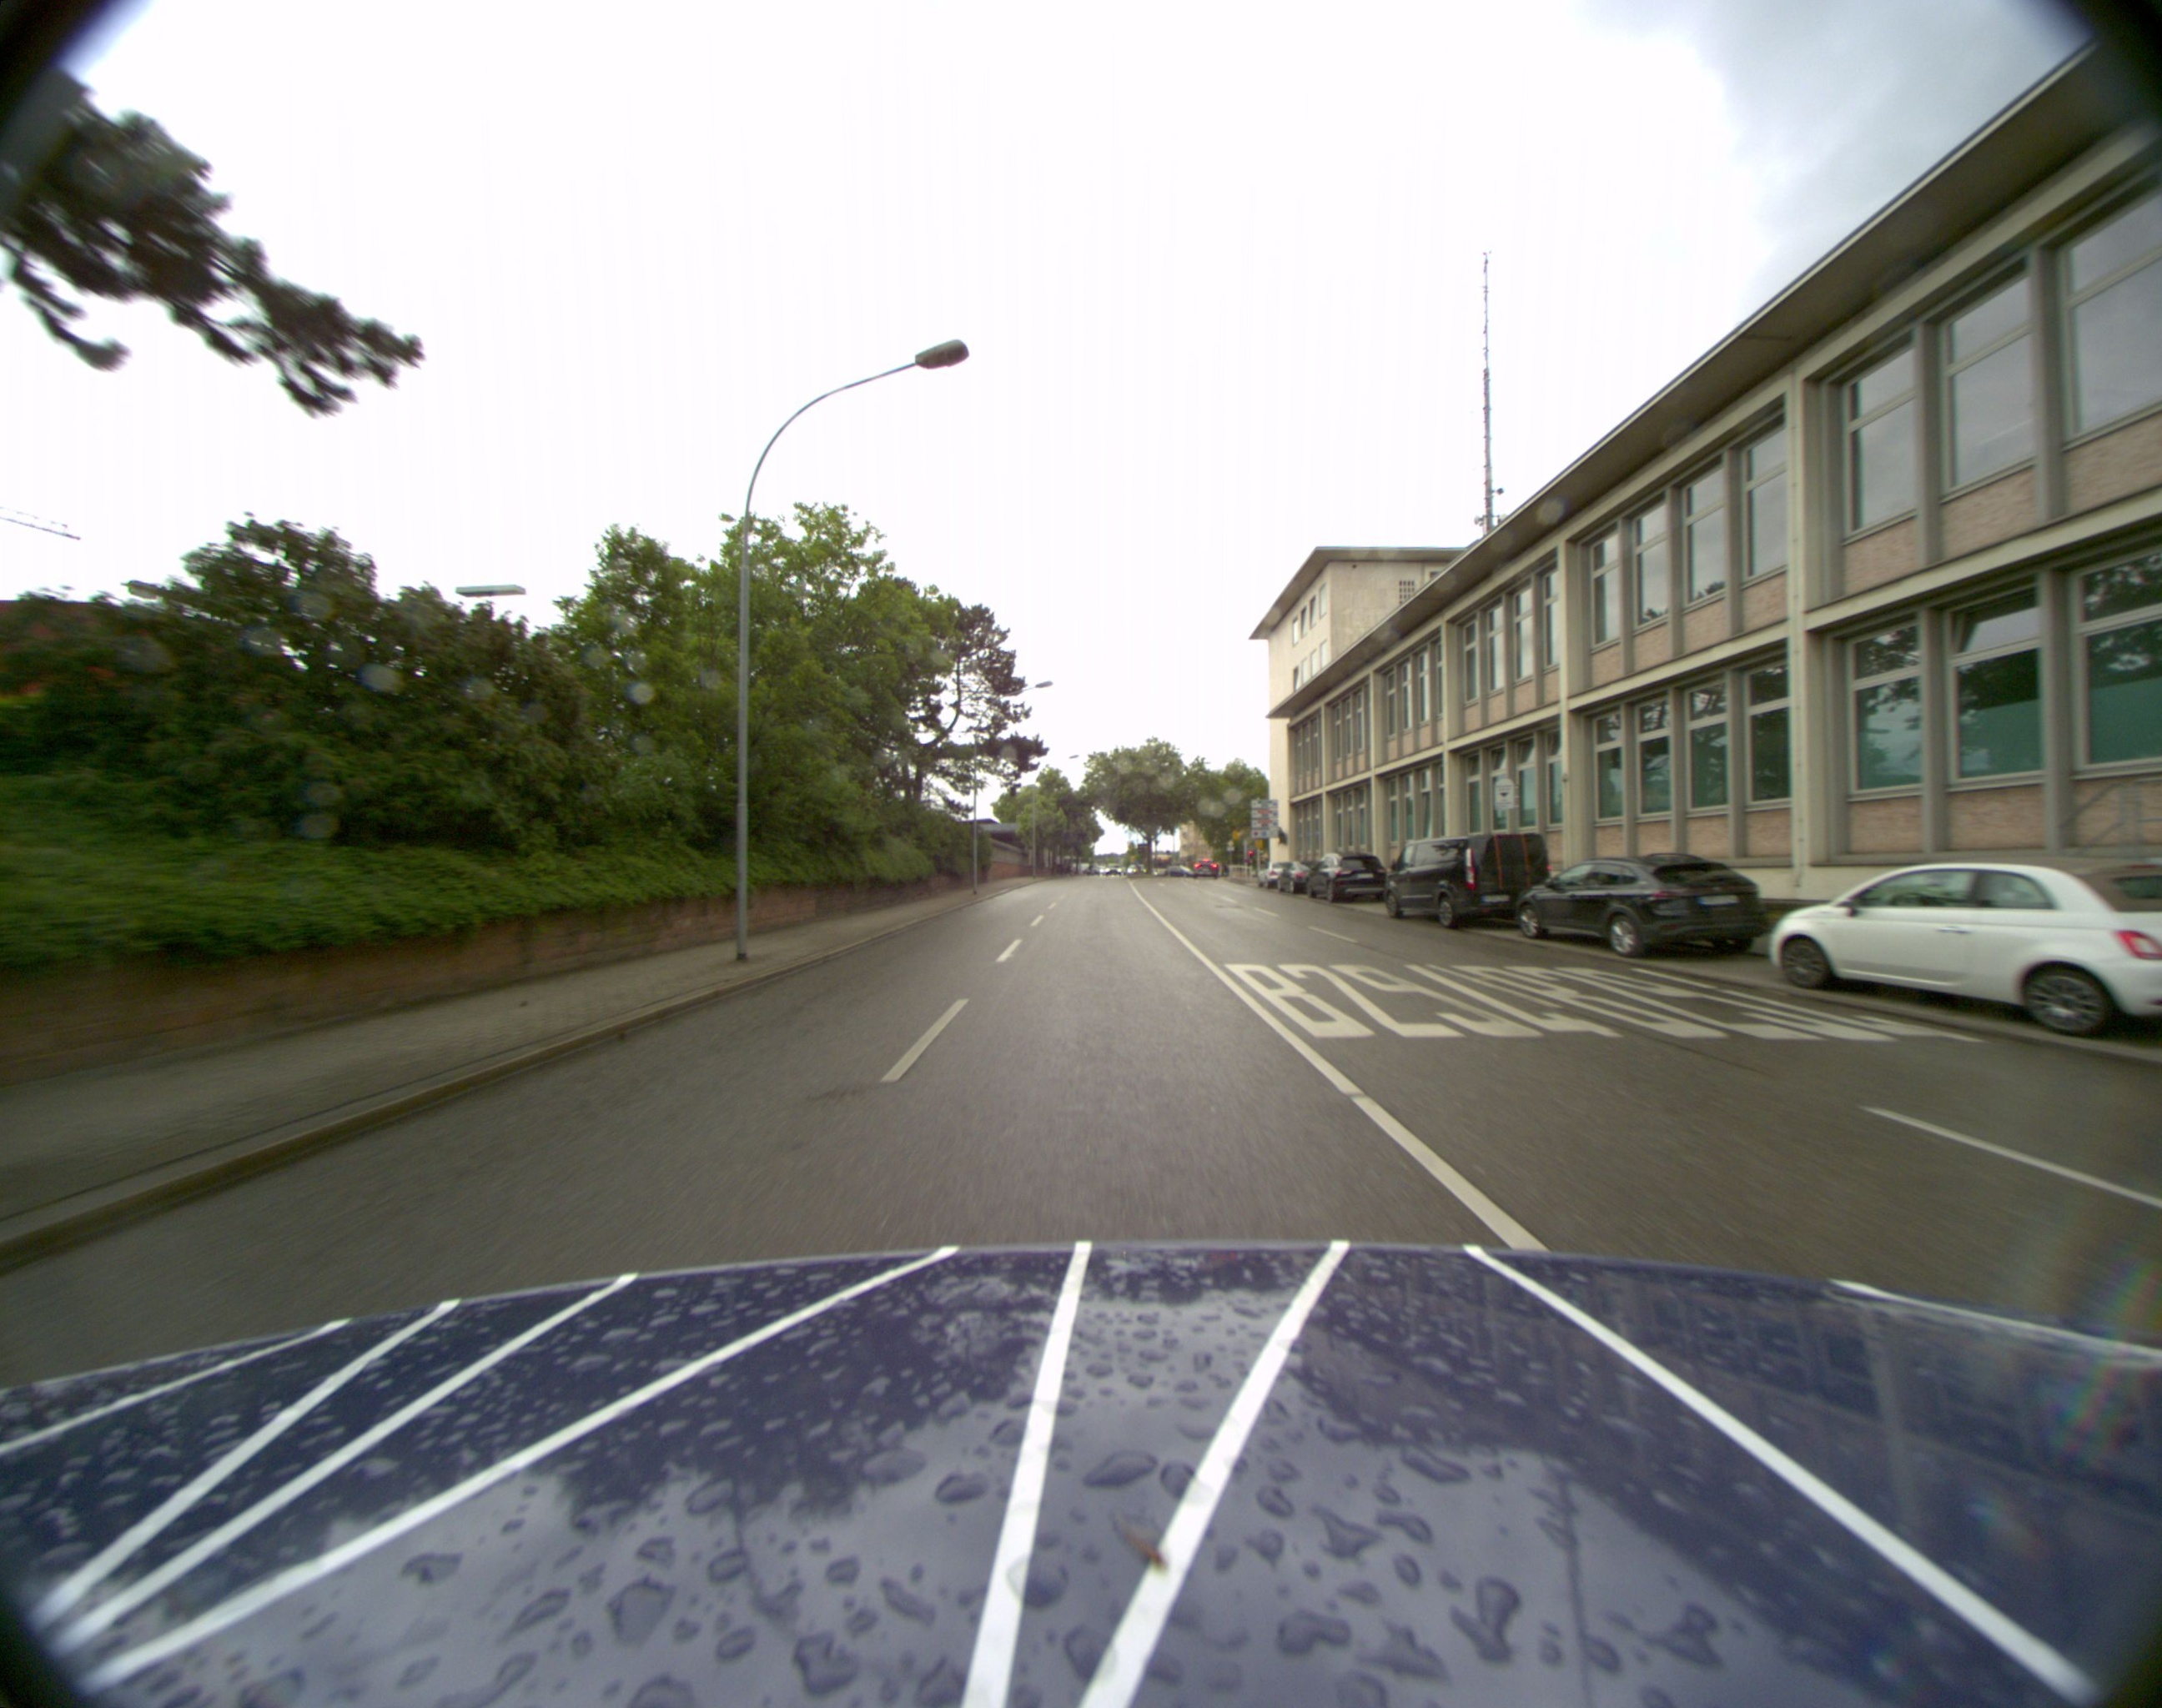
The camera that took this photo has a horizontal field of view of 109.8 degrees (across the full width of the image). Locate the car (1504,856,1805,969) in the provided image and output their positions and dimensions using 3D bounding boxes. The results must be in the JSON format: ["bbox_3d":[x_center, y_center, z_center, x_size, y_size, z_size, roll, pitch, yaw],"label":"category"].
[{"bbox_3d":[9.122,0.825,12.667,1.865,1.542,4.313,0,0,2],"label":"car"}]

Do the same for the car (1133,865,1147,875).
[{"bbox_3d":[9.016,2.470,115.764,1.983,1.437,3.910,2,-1,4],"label":"car"}]

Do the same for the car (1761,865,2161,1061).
[{"bbox_3d":[9.042,0.862,7.452,1.570,1.475,3.553,0,0,0],"label":"car"}]

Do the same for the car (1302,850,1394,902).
[{"bbox_3d":[9.191,0.724,26.538,1.801,1.665,4.604,0,0,3],"label":"car"}]

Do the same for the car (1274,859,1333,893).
[{"bbox_3d":[9.299,0.872,31.985,1.546,1.345,4.111,0,0,4],"label":"car"}]

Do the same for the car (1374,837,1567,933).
[{"bbox_3d":[8.800,0.626,17.765,1.954,1.932,4.996,0,0,0],"label":"car"}]

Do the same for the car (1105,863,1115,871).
[{"bbox_3d":[5.696,2.617,148.765,1.983,1.438,3.909,-1,0,4],"label":"car"}]

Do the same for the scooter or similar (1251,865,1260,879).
[{"bbox_3d":[15.571,1.606,67.669,0.571,1.185,1.575,1,-1,7],"label":"scooter or similar"}]

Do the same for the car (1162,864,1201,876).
[{"bbox_3d":[12.429,1.981,94.096,4.401,1.400,1.826,1,-1,41],"label":"car"}]

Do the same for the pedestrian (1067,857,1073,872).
[{"bbox_3d":[-1.189,1.163,80.644,0.456,1.559,0.394,2,0,35],"label":"pedestrian"}]

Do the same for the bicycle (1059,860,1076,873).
[{"bbox_3d":[-1.457,1.308,80.454,1.720,1.241,0.487,2,-1,35],"label":"bicycle"}]

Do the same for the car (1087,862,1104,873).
[{"bbox_3d":[1.953,1.817,100.886,1.871,1.465,3.828,2,-1,5],"label":"car"}]

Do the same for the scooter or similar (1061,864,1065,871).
[{"bbox_3d":[-2.758,2.051,116.189,0.494,1.146,1.545,1,-1,1],"label":"scooter or similar"}]

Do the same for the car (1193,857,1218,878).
[{"bbox_3d":[10.250,1.099,62.788,1.825,1.650,4.340,1,-1,6],"label":"car"}]

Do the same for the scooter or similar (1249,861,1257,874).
[{"bbox_3d":[15.700,1.230,69.255,0.489,1.160,1.503,1,-1,4],"label":"scooter or similar"}]

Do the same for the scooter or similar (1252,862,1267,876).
[{"bbox_3d":[15.010,1.264,63.826,0.607,1.185,1.532,1,-1,37],"label":"scooter or similar"}]

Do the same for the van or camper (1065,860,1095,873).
[{"bbox_3d":[-0.218,2.943,177.876,6.540,2.853,2.275,-1,1,-27],"label":"van or camper"}]

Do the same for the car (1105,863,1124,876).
[{"bbox_3d":[3.878,1.814,87.566,1.871,1.465,3.828,2,-1,5],"label":"car"}]

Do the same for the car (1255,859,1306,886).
[{"bbox_3d":[9.761,0.881,37.478,1.695,1.290,4.094,0,0,4],"label":"car"}]

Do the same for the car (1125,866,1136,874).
[{"bbox_3d":[9.288,3.006,143.054,1.983,1.437,3.910,2,-1,4],"label":"car"}]

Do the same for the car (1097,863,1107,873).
[{"bbox_3d":[3.271,2.223,118.076,1.619,1.477,3.670,0,0,2],"label":"car"}]
